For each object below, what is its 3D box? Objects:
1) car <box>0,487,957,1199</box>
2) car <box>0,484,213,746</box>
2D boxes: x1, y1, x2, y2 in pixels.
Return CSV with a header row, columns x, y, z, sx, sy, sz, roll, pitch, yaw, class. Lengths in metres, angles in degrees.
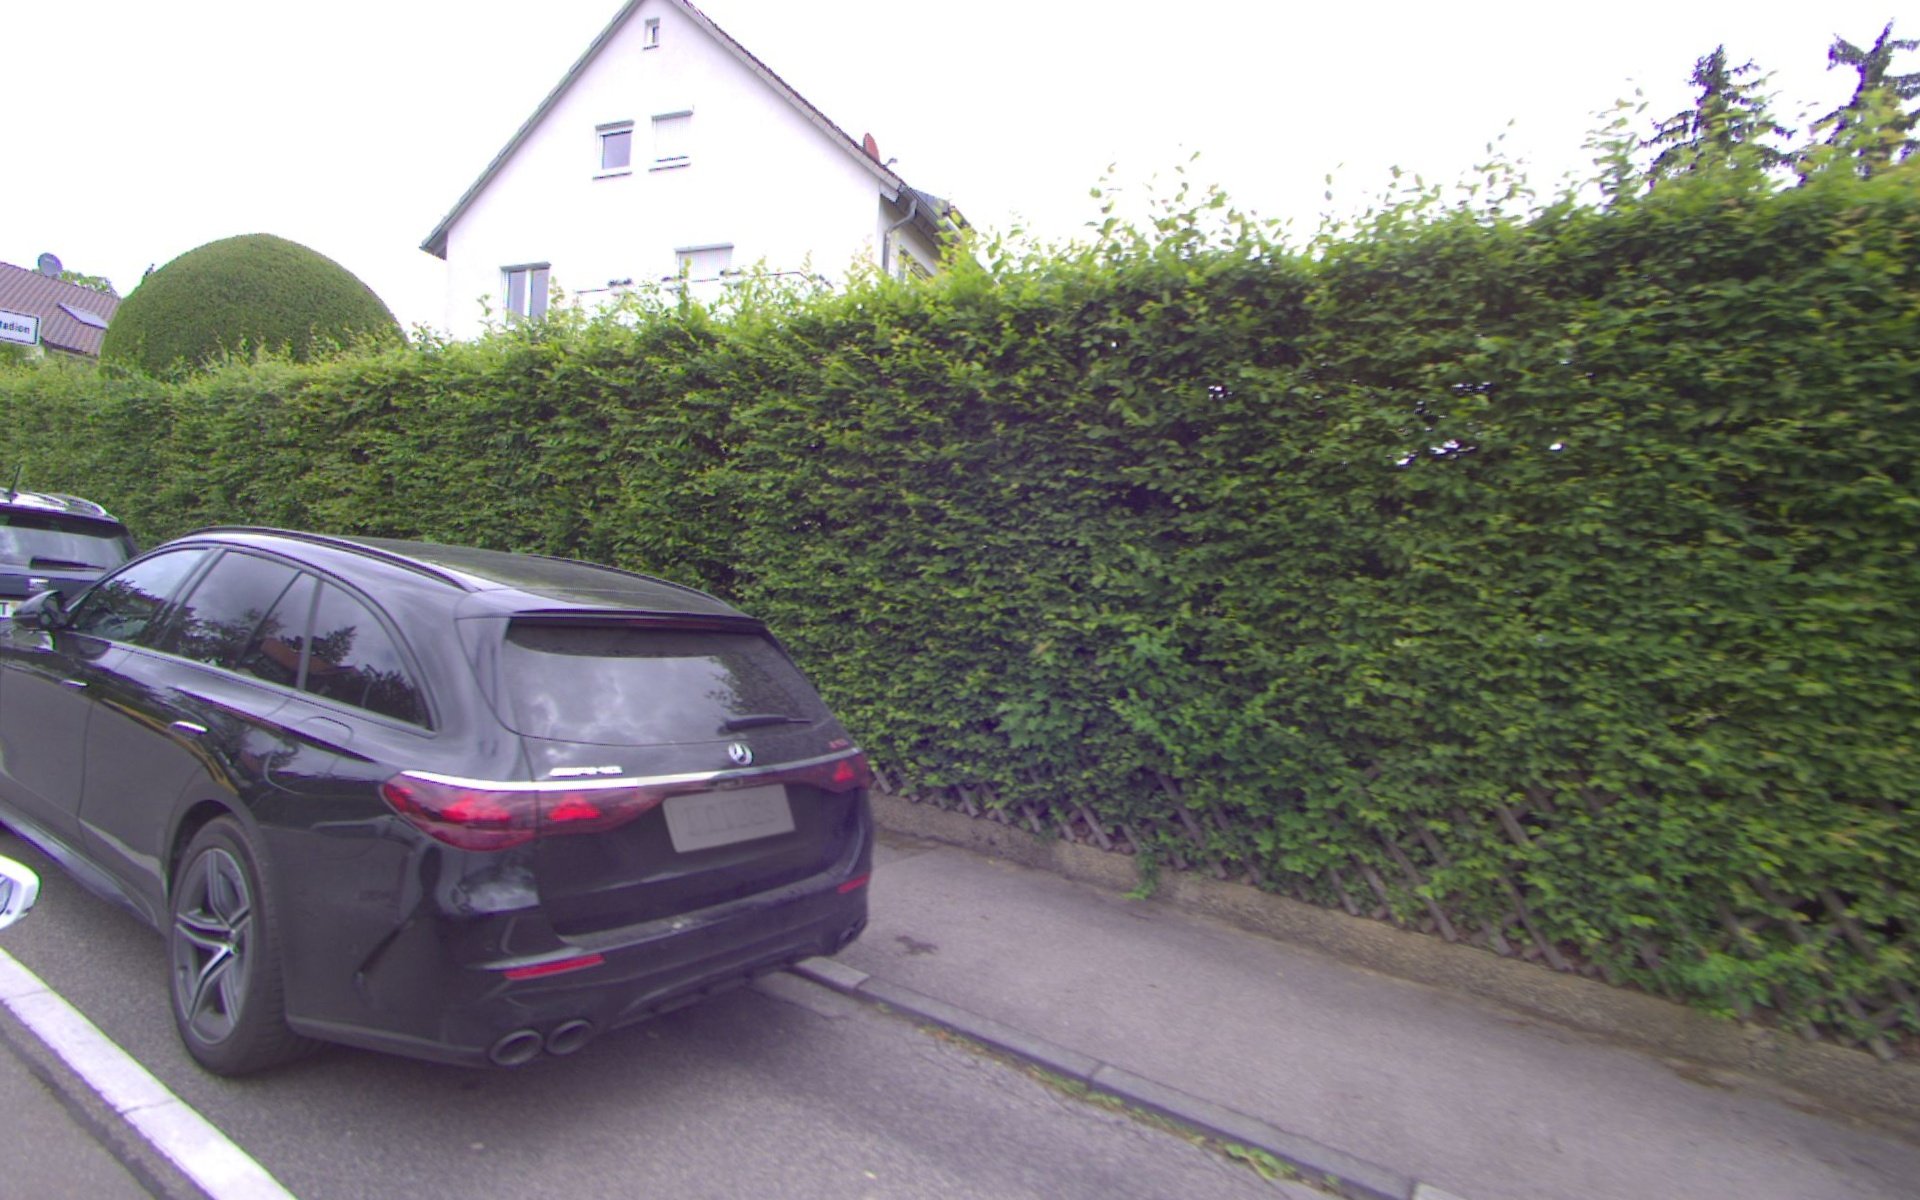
x,y,z,sx,sy,sz,roll,pitch,yaw,class
-2.721,0.443,4.312,5.125,1.513,1.924,7,1,34,car
-7.286,-0.113,7.029,4.306,1.507,1.791,7,1,32,car
